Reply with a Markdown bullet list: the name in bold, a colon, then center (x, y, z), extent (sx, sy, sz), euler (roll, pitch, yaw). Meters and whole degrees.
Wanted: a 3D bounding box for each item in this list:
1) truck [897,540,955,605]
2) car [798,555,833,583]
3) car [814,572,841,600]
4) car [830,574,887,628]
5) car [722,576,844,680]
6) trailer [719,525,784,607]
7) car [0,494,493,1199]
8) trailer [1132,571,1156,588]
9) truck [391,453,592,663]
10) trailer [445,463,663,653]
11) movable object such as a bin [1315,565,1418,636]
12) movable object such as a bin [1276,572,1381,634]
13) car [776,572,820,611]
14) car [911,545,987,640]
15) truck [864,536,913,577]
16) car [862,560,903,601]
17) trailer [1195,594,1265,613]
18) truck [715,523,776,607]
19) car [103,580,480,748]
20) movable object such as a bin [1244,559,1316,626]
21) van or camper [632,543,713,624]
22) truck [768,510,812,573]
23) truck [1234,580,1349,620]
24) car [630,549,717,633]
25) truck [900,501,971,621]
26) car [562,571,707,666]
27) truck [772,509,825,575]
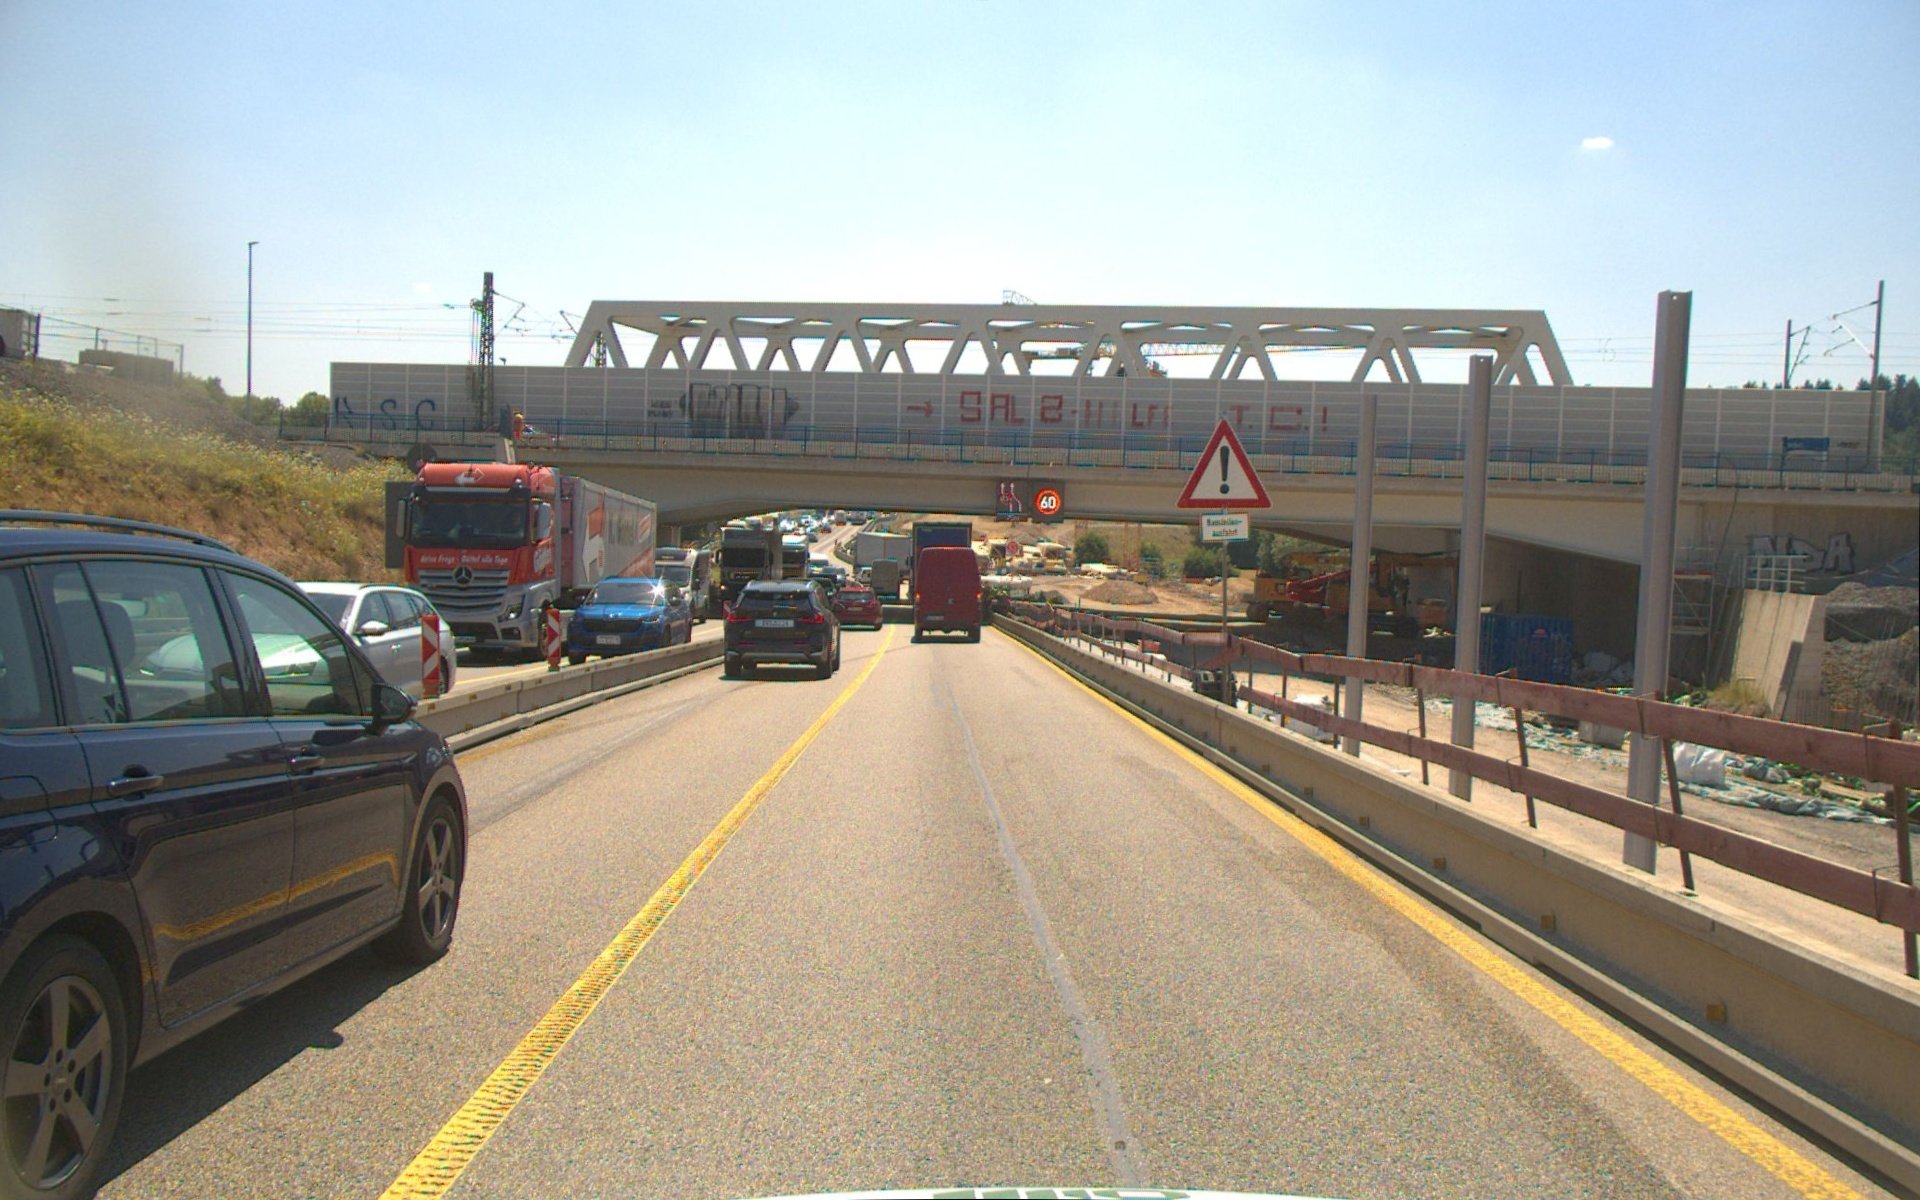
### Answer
- **truck**: center (-2.361, -1.926, 112.970), extent (3.122, 4.058, 6.732), euler (1, 3, -8)
- **car**: center (-12.895, -2.767, 147.255), extent (1.949, 2.370, 6.031), euler (1, 1, -16)
- **car**: center (-9.506, -1.020, 119.292), extent (1.764, 1.966, 4.965), euler (1, 1, -3)
- **car**: center (-3.561, 0.014, 58.455), extent (1.796, 1.808, 4.388), euler (1, 0, -1)
- **car**: center (-3.053, 0.445, 29.326), extent (1.796, 1.664, 4.388), euler (1, 0, -2)
- **trailer**: center (-11.262, -1.745, 90.014), extent (2.756, 4.247, 8.239), euler (1, 0, -3)
- **car**: center (-2.900, 0.582, 5.019), extent (1.698, 1.664, 4.389), euler (1, 0, 0)
- **trailer**: center (17.216, -1.916, 154.890), extent (1.592, 1.512, 3.823), euler (1, 2, -5)
- **truck**: center (-9.366, -0.780, 33.657), extent (2.532, 3.895, 5.379), euler (1, 0, -1)
- **trailer**: center (-9.431, -0.846, 40.049), extent (2.602, 3.882, 11.817), euler (1, 0, -2)
- **movable object such as a bin**: center (20.438, 0.038, 83.338), extent (4.459, 3.344, 2.991), euler (3, 0, 3)
- **movable object such as a bin**: center (20.157, 0.167, 90.596), extent (5.130, 3.110, 2.497), euler (3, 0, 3)
- **car**: center (-7.830, -0.447, 80.289), extent (1.818, 1.786, 4.608), euler (1, 2, -2)
- **car**: center (-0.339, -0.208, 49.515), extent (2.106, 2.656, 5.437), euler (1, 0, -1)
- **truck**: center (-6.564, -3.895, 149.976), extent (3.161, 3.419, 8.918), euler (1, 0, -10)
- **car**: center (-5.084, -1.312, 107.781), extent (2.222, 2.395, 5.154), euler (1, 4, -7)
- **trailer**: center (19.321, 0.248, 118.467), extent (4.618, 1.241, 2.055), euler (1, 0, -2)
- **truck**: center (-11.074, -1.759, 85.689), extent (2.742, 4.223, 4.071), euler (1, 0, -3)
- **car**: center (-6.576, 0.553, 16.898), extent (1.795, 1.454, 4.537), euler (1, 0, 3)
- **movable object such as a bin**: center (18.268, -0.425, 94.635), extent (3.799, 3.604, 2.905), euler (2, 0, 10)
- **van or camper**: center (-10.410, -0.587, 60.295), extent (2.081, 2.752, 6.452), euler (1, 0, -3)
- **truck**: center (-12.038, -4.089, 117.694), extent (2.605, 4.243, 5.185), euler (1, 0, -1)
- **truck**: center (19.955, 0.003, 99.908), extent (6.386, 2.109, 2.666), euler (2, 1, 2)
- **car**: center (-10.347, -0.288, 60.264), extent (2.229, 2.870, 6.555), euler (1, 0, -2)
- **truck**: center (-1.167, -1.840, 73.286), extent (2.886, 5.030, 6.741), euler (1, 3, -3)
- **car**: center (-6.278, 0.326, 32.427), extent (1.796, 1.693, 4.685), euler (1, 0, 1)
- **truck**: center (-12.035, -4.223, 124.192), extent (2.712, 4.389, 13.488), euler (1, 0, 0)
